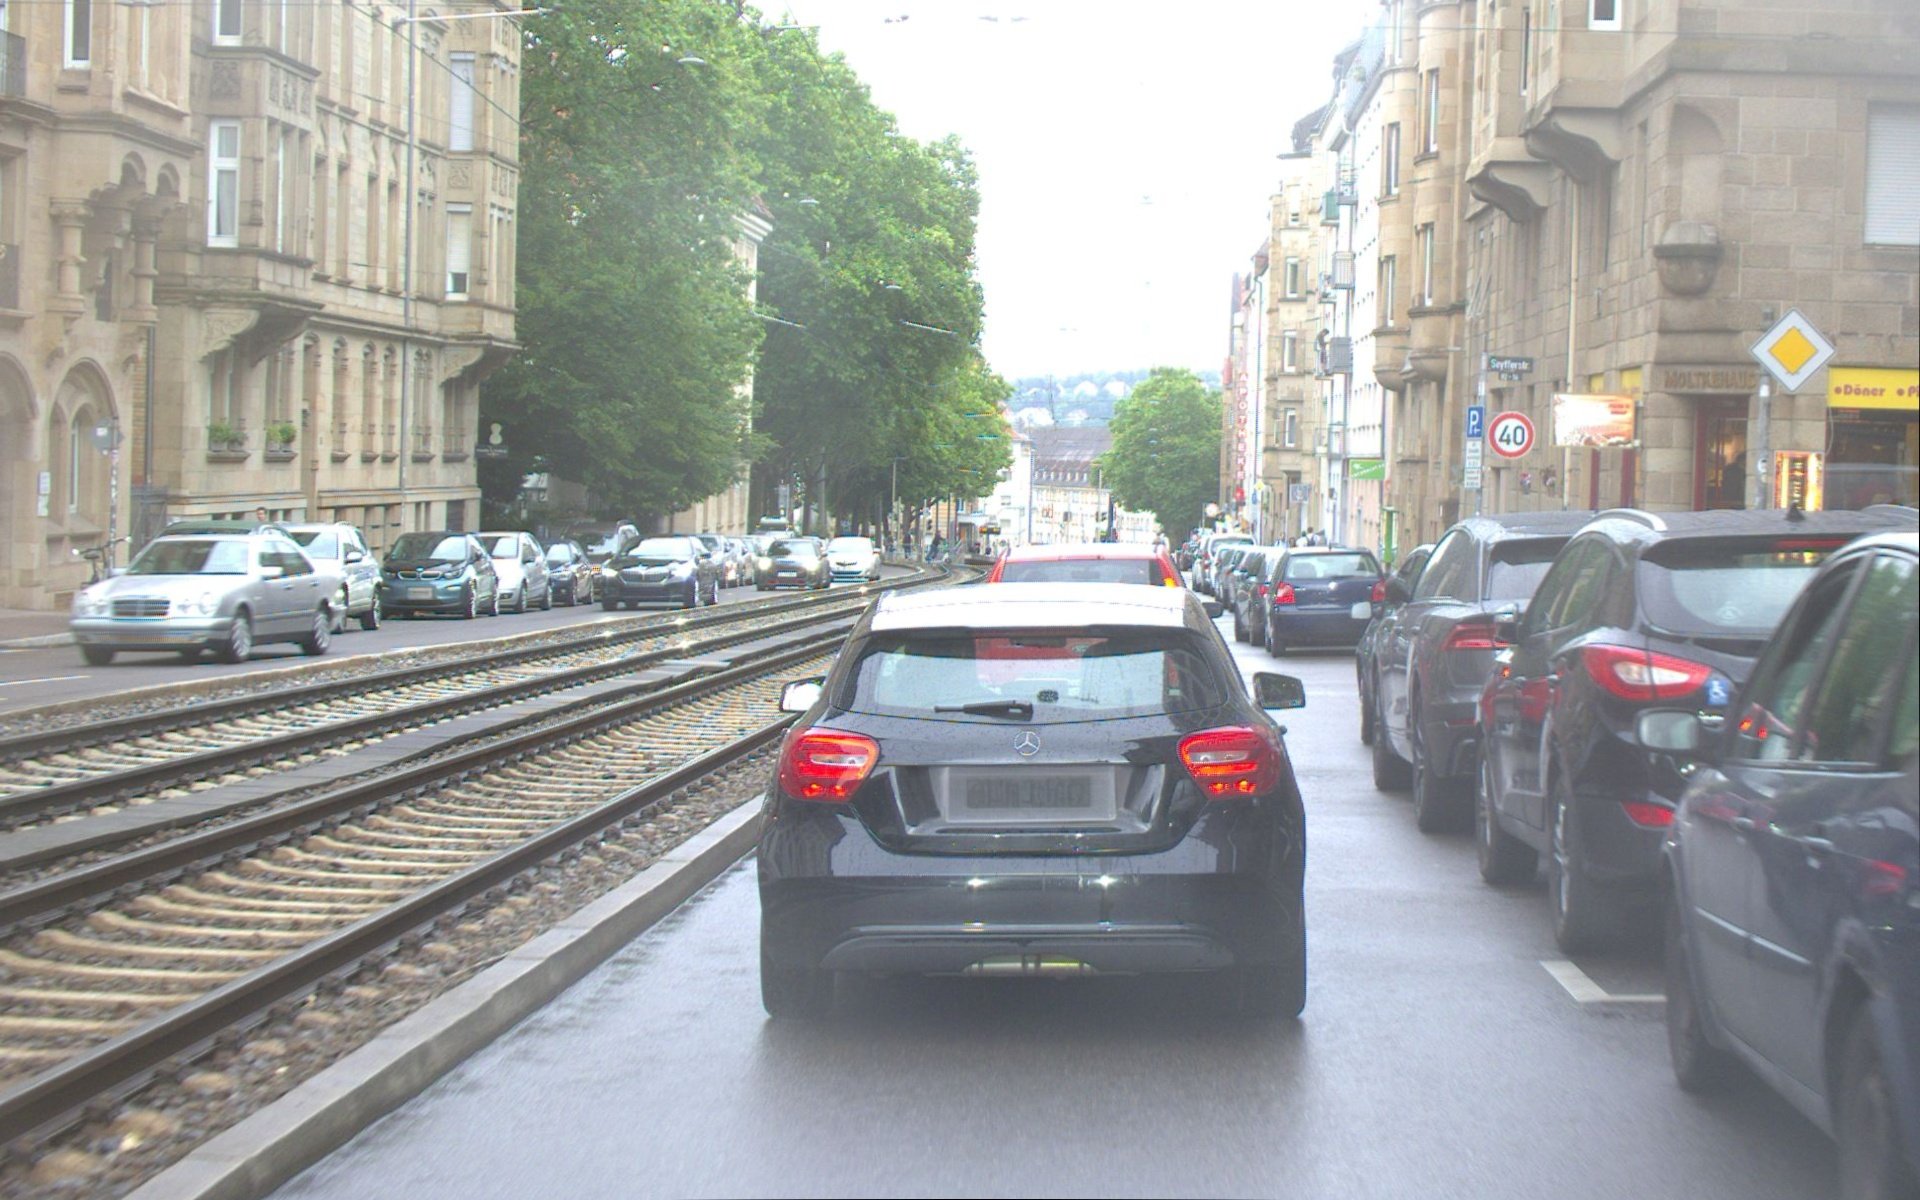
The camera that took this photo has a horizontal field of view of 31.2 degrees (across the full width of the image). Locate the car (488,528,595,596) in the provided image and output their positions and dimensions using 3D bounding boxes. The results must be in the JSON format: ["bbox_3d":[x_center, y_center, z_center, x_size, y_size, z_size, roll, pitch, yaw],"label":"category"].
[{"bbox_3d":[-8.901,-0.826,73.321,1.569,1.408,3.481,0,1,5],"label":"car"}]

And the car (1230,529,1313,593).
[{"bbox_3d":[6.573,-0.849,72.863,1.613,1.313,4.000,0,1,3],"label":"car"}]

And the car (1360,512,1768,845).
[{"bbox_3d":[3.301,0.344,19.604,1.750,1.664,4.703,0,1,3],"label":"car"}]

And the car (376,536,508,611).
[{"bbox_3d":[-9.307,-0.504,61.989,1.569,1.312,3.481,0,1,5],"label":"car"}]

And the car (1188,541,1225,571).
[{"bbox_3d":[11.434,-2.050,159.615,1.613,1.313,4.000,2,1,3],"label":"car"}]

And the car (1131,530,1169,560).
[{"bbox_3d":[8.314,-2.405,150.284,1.613,1.313,4.000,0,1,3],"label":"car"}]

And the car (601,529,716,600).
[{"bbox_3d":[-5.994,-0.720,68.652,1.695,1.384,3.481,0,1,5],"label":"car"}]

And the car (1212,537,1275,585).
[{"bbox_3d":[7.829,-1.097,95.161,1.613,1.313,4.000,0,1,3],"label":"car"}]

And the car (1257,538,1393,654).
[{"bbox_3d":[4.880,-0.085,46.302,1.622,1.479,4.000,0,1,3],"label":"car"}]

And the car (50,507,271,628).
[{"bbox_3d":[-10.551,-0.458,45.646,1.722,1.536,3.933,0,1,5],"label":"car"}]

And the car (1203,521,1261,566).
[{"bbox_3d":[8.094,-1.688,102.560,1.613,1.313,4.000,0,1,3],"label":"car"}]

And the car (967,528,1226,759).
[{"bbox_3d":[0.983,0.241,24.355,1.649,1.447,4.000,1,1,3],"label":"car"}]

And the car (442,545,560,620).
[{"bbox_3d":[-8.976,-0.365,67.488,1.569,1.408,3.481,0,1,5],"label":"car"}]

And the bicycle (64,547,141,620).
[{"bbox_3d":[-12.049,-0.239,48.353,0.598,0.997,2.080,0,1,-1],"label":"bicycle"}]

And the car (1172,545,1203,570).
[{"bbox_3d":[12.014,-2.249,181.635,1.613,1.313,4.000,0,1,3],"label":"car"}]

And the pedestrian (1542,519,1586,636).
[{"bbox_3d":[7.671,-0.292,43.658,0.454,1.461,0.610,1,1,3],"label":"pedestrian"}]

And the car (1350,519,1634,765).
[{"bbox_3d":[3.691,0.230,24.401,1.613,1.599,4.000,0,1,3],"label":"car"}]

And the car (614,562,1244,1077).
[{"bbox_3d":[0.061,0.641,12.459,1.867,1.447,4.000,2,1,5],"label":"car"}]

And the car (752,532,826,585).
[{"bbox_3d":[-4.643,-1.148,93.775,1.569,1.408,3.481,0,1,5],"label":"car"}]

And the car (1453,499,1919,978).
[{"bbox_3d":[3.069,0.438,14.008,1.683,1.664,4.122,0,1,2],"label":"car"}]

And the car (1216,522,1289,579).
[{"bbox_3d":[6.935,-1.196,81.859,1.613,1.313,4.000,0,1,3],"label":"car"}]

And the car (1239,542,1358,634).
[{"bbox_3d":[5.050,-0.203,51.684,1.613,1.313,4.000,0,1,3],"label":"car"}]

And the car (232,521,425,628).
[{"bbox_3d":[-9.747,-0.424,53.375,1.807,1.591,4.525,0,1,5],"label":"car"}]

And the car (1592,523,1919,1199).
[{"bbox_3d":[2.717,0.602,8.294,1.765,1.553,4.745,0,1,3],"label":"car"}]

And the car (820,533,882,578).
[{"bbox_3d":[-3.487,-1.443,110.473,1.569,1.408,3.481,0,1,5],"label":"car"}]

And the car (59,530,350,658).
[{"bbox_3d":[-8.502,-0.114,39.132,1.807,1.356,4.762,0,1,6],"label":"car"}]
